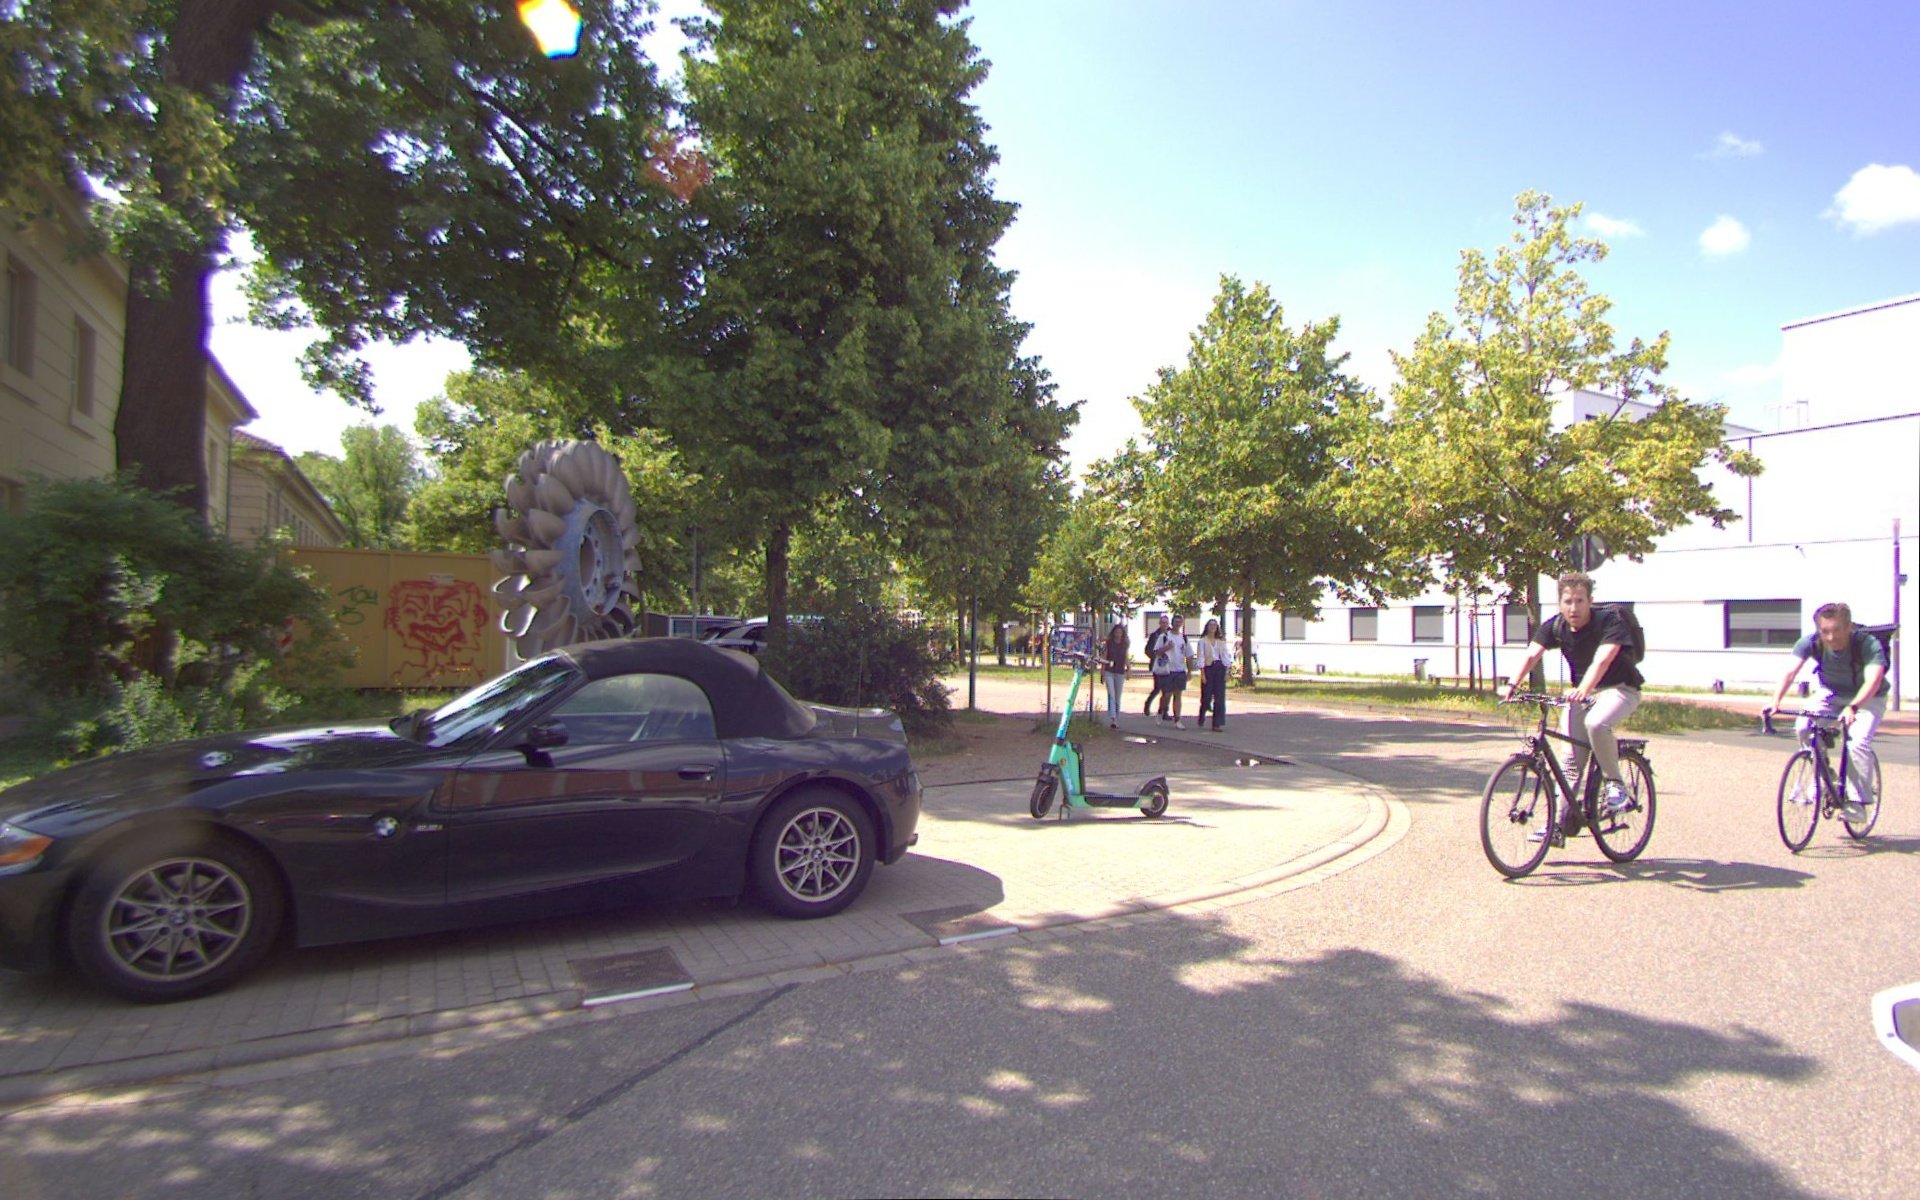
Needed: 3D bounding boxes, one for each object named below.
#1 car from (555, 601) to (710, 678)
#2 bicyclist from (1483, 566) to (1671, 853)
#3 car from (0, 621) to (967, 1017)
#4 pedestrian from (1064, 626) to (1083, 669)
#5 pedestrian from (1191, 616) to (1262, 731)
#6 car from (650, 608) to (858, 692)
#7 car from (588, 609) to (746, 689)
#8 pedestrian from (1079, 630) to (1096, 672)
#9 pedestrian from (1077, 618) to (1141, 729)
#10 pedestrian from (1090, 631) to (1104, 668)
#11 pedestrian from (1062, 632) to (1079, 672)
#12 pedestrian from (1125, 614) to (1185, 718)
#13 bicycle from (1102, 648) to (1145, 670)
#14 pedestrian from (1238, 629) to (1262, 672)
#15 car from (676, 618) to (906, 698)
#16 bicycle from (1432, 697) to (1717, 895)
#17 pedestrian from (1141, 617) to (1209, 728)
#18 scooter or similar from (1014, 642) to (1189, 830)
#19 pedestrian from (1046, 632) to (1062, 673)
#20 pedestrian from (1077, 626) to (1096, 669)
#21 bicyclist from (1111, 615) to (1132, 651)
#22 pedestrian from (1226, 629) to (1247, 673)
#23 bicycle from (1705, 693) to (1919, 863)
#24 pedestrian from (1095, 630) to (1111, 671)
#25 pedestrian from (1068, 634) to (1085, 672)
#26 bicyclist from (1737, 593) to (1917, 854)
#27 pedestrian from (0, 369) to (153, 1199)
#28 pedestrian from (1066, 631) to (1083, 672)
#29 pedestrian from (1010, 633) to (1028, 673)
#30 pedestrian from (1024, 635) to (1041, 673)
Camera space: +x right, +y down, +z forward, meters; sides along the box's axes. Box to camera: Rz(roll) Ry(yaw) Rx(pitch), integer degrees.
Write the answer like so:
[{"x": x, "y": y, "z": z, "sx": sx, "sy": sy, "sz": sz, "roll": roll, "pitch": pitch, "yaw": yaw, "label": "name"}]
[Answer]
[{"x": -11.096, "y": 1.359, "z": 34.053, "sx": 4.676, "sy": 2.424, "sz": 2.232, "roll": 1, "pitch": -4, "yaw": -30, "label": "car"}, {"x": 3.800, "y": 0.633, "z": 6.190, "sx": 0.898, "sy": 1.622, "sz": 0.640, "roll": 2, "pitch": -1, "yaw": -30, "label": "bicyclist"}, {"x": -2.052, "y": 0.800, "z": 4.893, "sx": 3.878, "sy": 1.318, "sz": 1.639, "roll": 2, "pitch": -2, "yaw": -28, "label": "car"}, {"x": 5.448, "y": 2.273, "z": 48.185, "sx": 0.603, "sy": 2.040, "sz": 0.656, "roll": 2, "pitch": -1, "yaw": -29, "label": "pedestrian"}, {"x": 4.124, "y": 1.124, "z": 15.603, "sx": 0.838, "sy": 1.731, "sz": 0.854, "roll": -1, "pitch": -1, "yaw": -1, "label": "pedestrian"}, {"x": -4.777, "y": 1.161, "z": 23.396, "sx": 4.387, "sy": 1.791, "sz": 1.920, "roll": 1, "pitch": -4, "yaw": -30, "label": "car"}, {"x": -9.066, "y": 1.522, "z": 31.117, "sx": 4.387, "sy": 2.320, "sz": 1.920, "roll": 1, "pitch": -4, "yaw": -30, "label": "car"}, {"x": 6.384, "y": 2.549, "z": 50.263, "sx": 0.677, "sy": 2.040, "sz": 0.684, "roll": 1, "pitch": -1, "yaw": 18, "label": "pedestrian"}, {"x": 2.387, "y": 1.165, "z": 16.167, "sx": 0.838, "sy": 1.731, "sz": 0.853, "roll": -1, "pitch": -1, "yaw": -4, "label": "pedestrian"}, {"x": 7.590, "y": 2.755, "z": 55.742, "sx": 0.599, "sy": 2.040, "sz": 0.661, "roll": 1, "pitch": -1, "yaw": 18, "label": "pedestrian"}, {"x": 5.725, "y": 2.689, "z": 51.950, "sx": 0.677, "sy": 2.040, "sz": 0.684, "roll": 1, "pitch": -1, "yaw": 18, "label": "pedestrian"}, {"x": 3.453, "y": 1.153, "z": 17.817, "sx": 0.838, "sy": 1.773, "sz": 0.853, "roll": -1, "pitch": -1, "yaw": -4, "label": "pedestrian"}, {"x": 8.306, "y": 2.979, "z": 51.169, "sx": 0.805, "sy": 1.015, "sz": 2.096, "roll": 3, "pitch": -2, "yaw": -44, "label": "bicycle"}, {"x": 12.052, "y": 2.092, "z": 41.720, "sx": 0.628, "sy": 1.772, "sz": 0.690, "roll": 2, "pitch": -1, "yaw": -28, "label": "pedestrian"}, {"x": -3.529, "y": 1.205, "z": 21.085, "sx": 4.387, "sy": 1.535, "sz": 1.920, "roll": 1, "pitch": -4, "yaw": -30, "label": "car"}, {"x": 3.823, "y": 1.130, "z": 6.203, "sx": 1.980, "sy": 0.977, "sz": 0.673, "roll": 2, "pitch": -2, "yaw": -31, "label": "bicycle"}, {"x": 3.445, "y": 1.143, "z": 16.186, "sx": 0.838, "sy": 1.731, "sz": 0.853, "roll": -1, "pitch": -1, "yaw": -5, "label": "pedestrian"}, {"x": 1.051, "y": 0.978, "z": 7.515, "sx": 1.196, "sy": 1.316, "sz": 0.504, "roll": 1, "pitch": -2, "yaw": -17, "label": "scooter or similar"}, {"x": 4.837, "y": 2.689, "z": 51.662, "sx": 0.677, "sy": 2.040, "sz": 0.684, "roll": 1, "pitch": -1, "yaw": 18, "label": "pedestrian"}, {"x": 6.109, "y": 2.275, "z": 48.384, "sx": 0.603, "sy": 2.040, "sz": 0.656, "roll": 2, "pitch": -1, "yaw": -29, "label": "pedestrian"}, {"x": 8.247, "y": 1.687, "z": 51.285, "sx": 0.806, "sy": 1.779, "sz": 0.683, "roll": 3, "pitch": -2, "yaw": -44, "label": "bicyclist"}, {"x": 11.371, "y": 2.081, "z": 41.347, "sx": 0.579, "sy": 1.788, "sz": 0.549, "roll": 2, "pitch": -1, "yaw": -28, "label": "pedestrian"}, {"x": 6.140, "y": 1.193, "z": 7.114, "sx": 1.980, "sy": 0.977, "sz": 0.673, "roll": 2, "pitch": 0, "yaw": -31, "label": "bicycle"}, {"x": 7.145, "y": 2.526, "z": 50.200, "sx": 0.677, "sy": 2.040, "sz": 0.684, "roll": 1, "pitch": -1, "yaw": 18, "label": "pedestrian"}, {"x": 6.296, "y": 2.849, "z": 54.408, "sx": 0.739, "sy": 2.040, "sz": 0.684, "roll": 1, "pitch": -1, "yaw": 18, "label": "pedestrian"}, {"x": 6.154, "y": 0.808, "z": 7.136, "sx": 0.981, "sy": 1.704, "sz": 0.663, "roll": -1, "pitch": 2, "yaw": -32, "label": "bicyclist"}, {"x": -2.413, "y": 0.510, "z": 1.752, "sx": 0.998, "sy": 1.928, "sz": 1.178, "roll": 1, "pitch": -1, "yaw": 24, "label": "pedestrian"}, {"x": 5.834, "y": 2.618, "z": 51.046, "sx": 0.677, "sy": 2.040, "sz": 0.684, "roll": 1, "pitch": -1, "yaw": 18, "label": "pedestrian"}, {"x": 3.058, "y": 2.767, "z": 52.257, "sx": 0.739, "sy": 2.040, "sz": 0.684, "roll": 1, "pitch": -1, "yaw": 18, "label": "pedestrian"}, {"x": 3.929, "y": 2.900, "z": 54.397, "sx": 0.739, "sy": 2.040, "sz": 0.684, "roll": 1, "pitch": -1, "yaw": 18, "label": "pedestrian"}]
